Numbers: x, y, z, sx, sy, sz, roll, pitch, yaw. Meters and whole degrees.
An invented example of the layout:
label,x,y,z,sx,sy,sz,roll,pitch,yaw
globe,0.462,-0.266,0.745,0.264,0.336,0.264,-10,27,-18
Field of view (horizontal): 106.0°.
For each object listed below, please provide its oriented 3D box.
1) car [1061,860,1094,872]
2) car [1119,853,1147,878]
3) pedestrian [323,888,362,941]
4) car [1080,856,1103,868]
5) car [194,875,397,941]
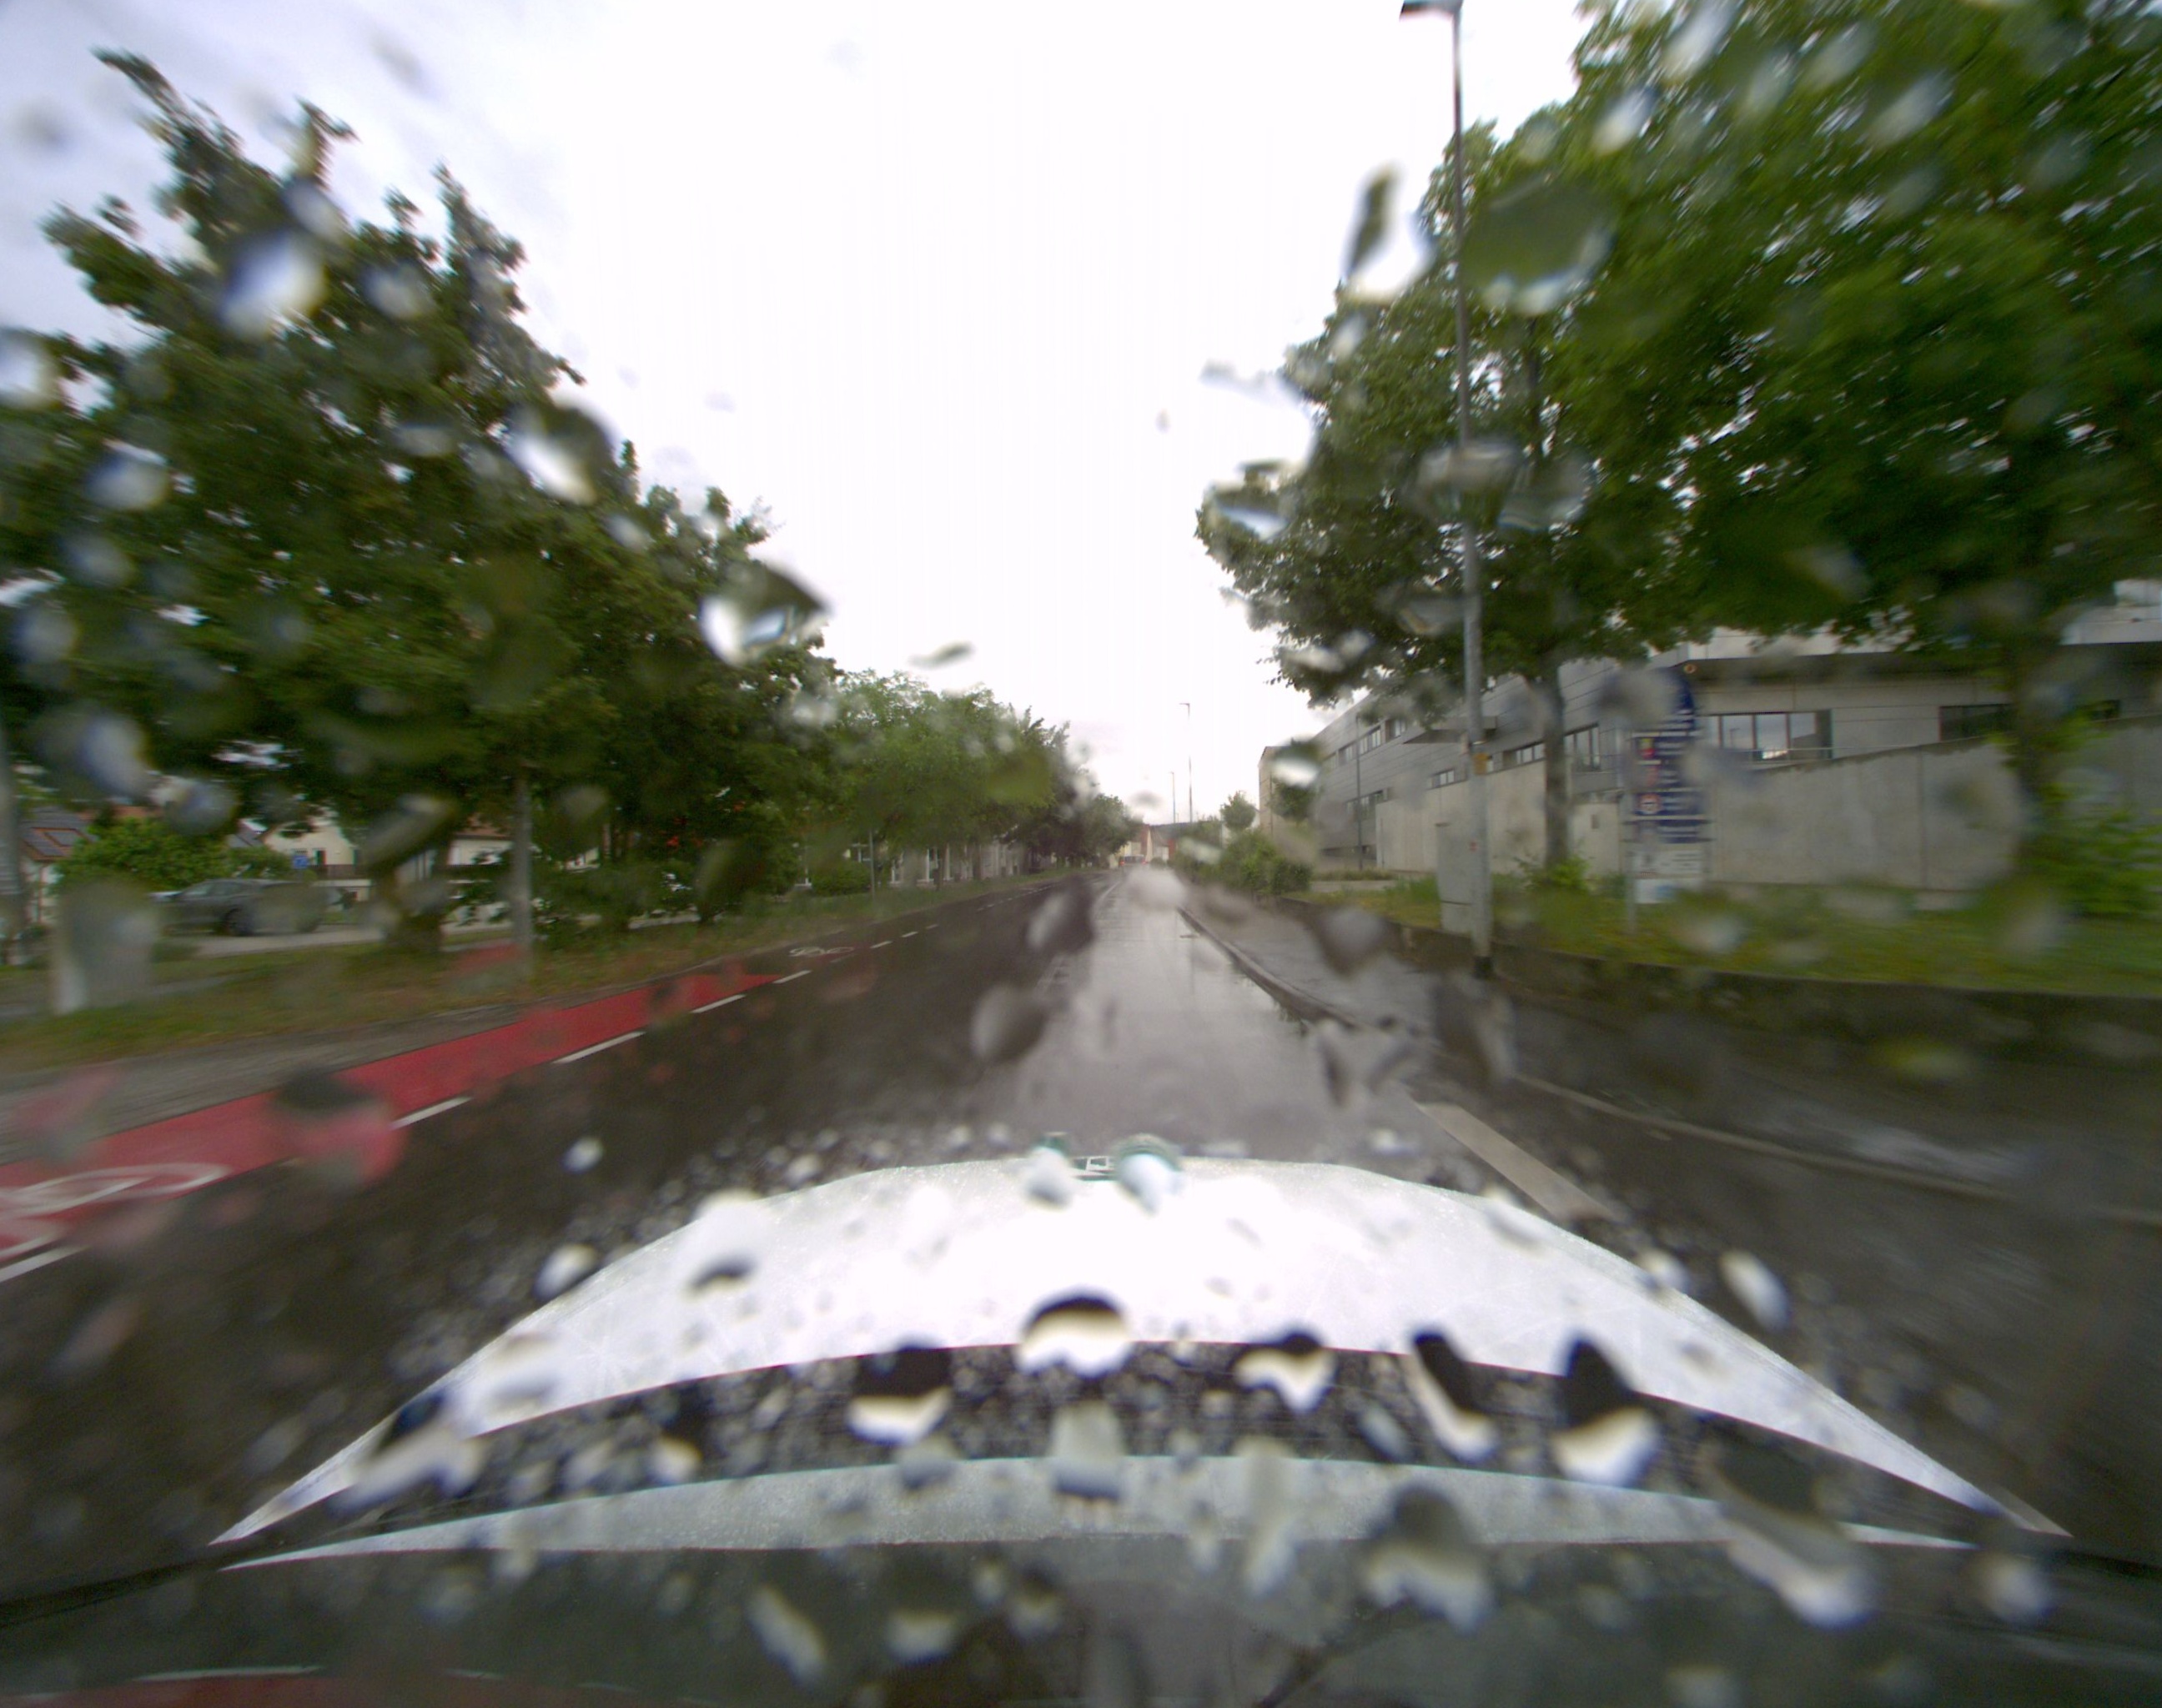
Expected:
label,x,y,z,sx,sy,sz,roll,pitch,yaw
car,-0.380,1.456,101.410,3.880,1.284,1.584,-3,-2,6
car,4.013,0.865,63.364,2.108,1.888,4.505,0,0,3
pedestrian,-26.650,2.174,29.406,0.680,1.837,0.765,0,0,-3
car,1.398,1.108,109.614,2.893,1.455,1.255,-3,-4,6
car,-22.330,1.453,23.446,2.113,1.556,4.156,-1,0,-8
